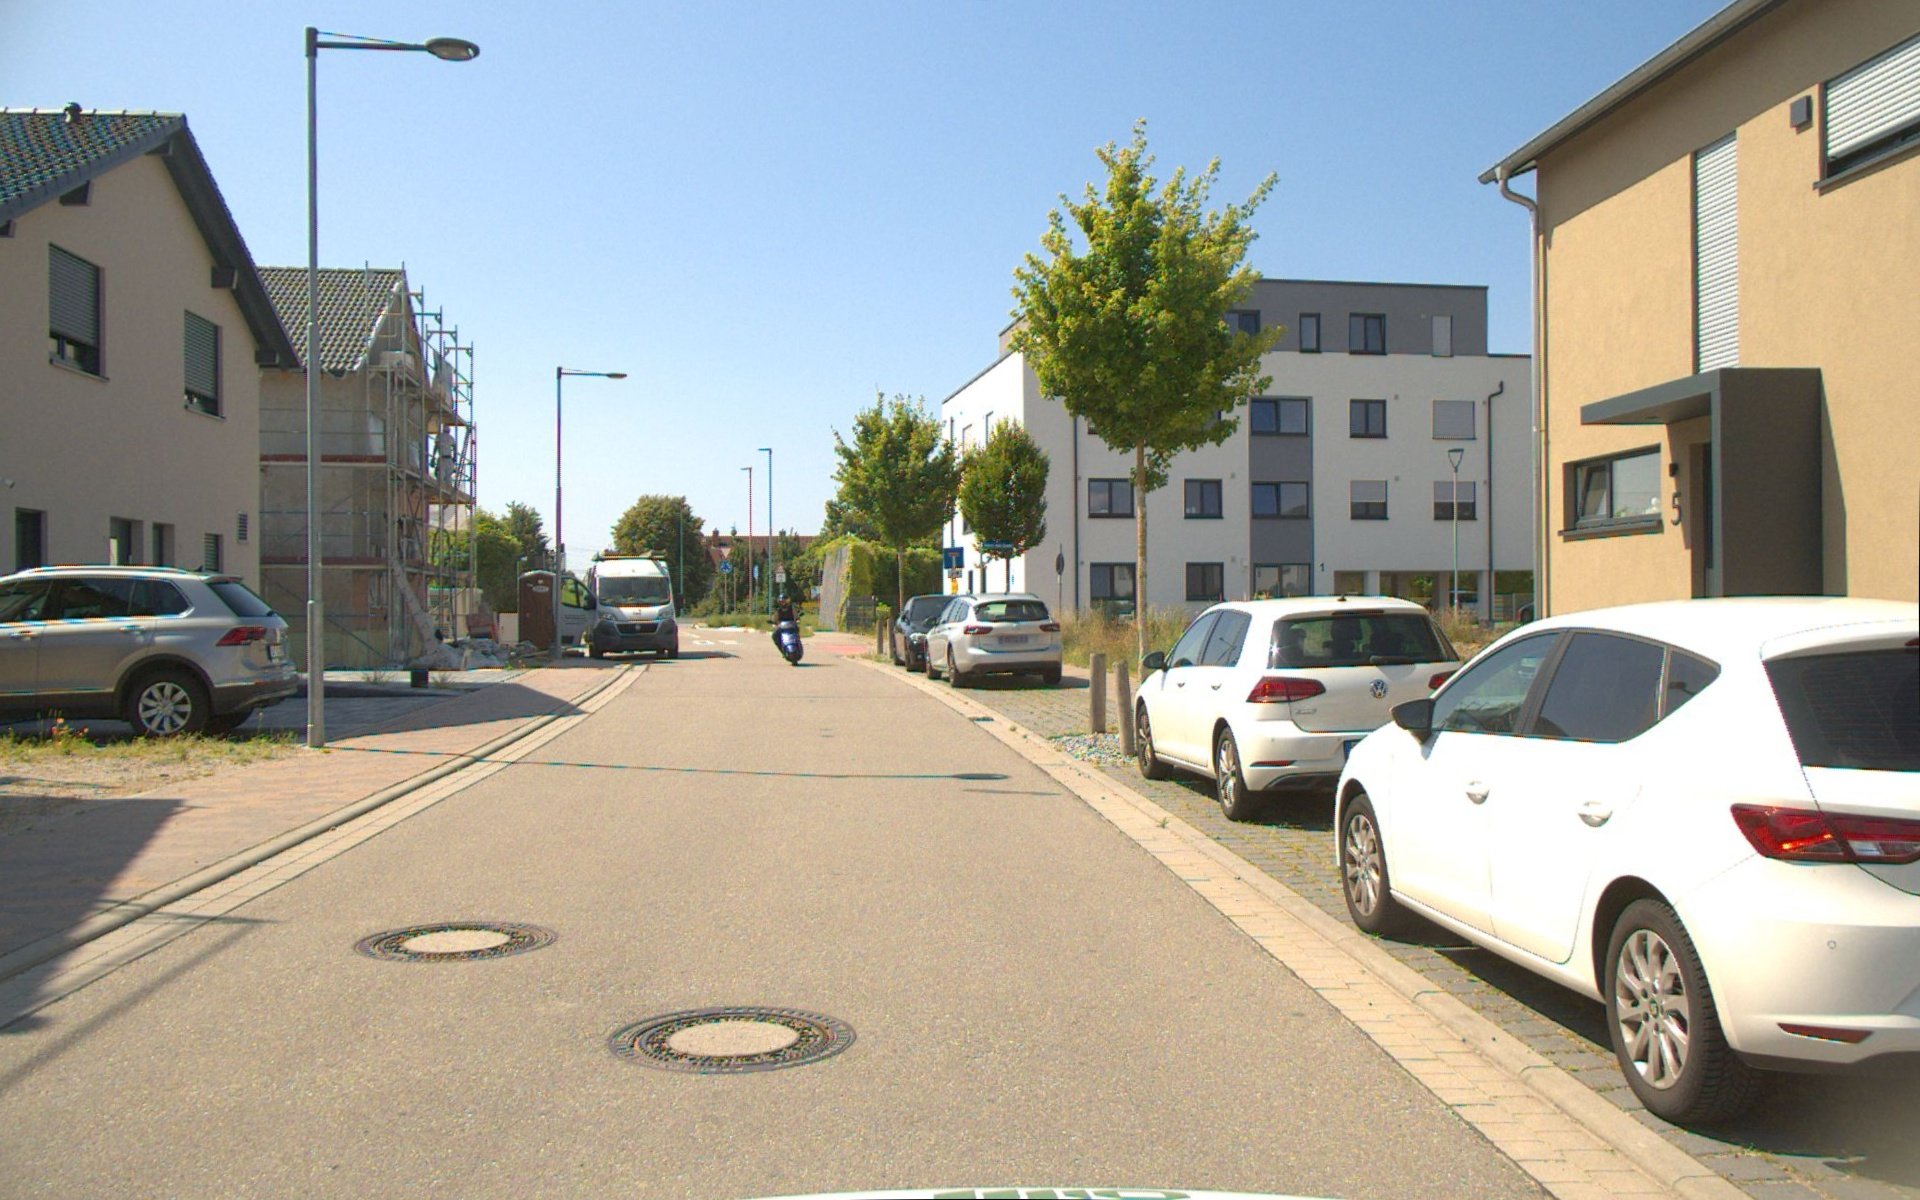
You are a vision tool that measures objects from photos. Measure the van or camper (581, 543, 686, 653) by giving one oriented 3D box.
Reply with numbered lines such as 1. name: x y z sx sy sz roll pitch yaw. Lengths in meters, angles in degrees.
1. van or camper: -8.457 -0.015 42.389 2.235 2.598 6.342 -1 -1 -15

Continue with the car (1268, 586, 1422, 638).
1. car: 11.471 0.355 49.433 4.083 1.461 1.878 -1 -1 -11

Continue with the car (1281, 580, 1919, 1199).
1. car: 2.722 0.695 6.290 1.779 1.481 4.560 -2 0 -4

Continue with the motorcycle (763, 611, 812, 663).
1. motorcycle: -3.866 0.797 36.889 0.938 1.053 2.431 -1 1 -10

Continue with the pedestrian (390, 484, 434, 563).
1. pedestrian: -12.338 -1.704 37.230 0.567 1.709 0.745 -3 -3 39

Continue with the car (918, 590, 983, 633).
1. car: -0.390 0.397 61.128 1.648 1.495 4.105 0 0 -11

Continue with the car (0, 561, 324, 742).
1. car: -8.803 0.481 16.317 4.343 1.640 1.996 -1 0 -9

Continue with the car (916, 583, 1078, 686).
1. car: 0.513 0.512 28.465 1.883 1.537 5.284 -2 1 -9

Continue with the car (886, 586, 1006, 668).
1. car: -0.382 0.503 34.456 1.882 1.495 5.132 -2 1 -7

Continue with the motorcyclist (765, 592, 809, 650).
1. motorcyclist: -3.844 0.452 36.732 0.908 1.244 0.802 -1 1 -10

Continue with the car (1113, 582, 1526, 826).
1. car: 2.477 0.623 12.615 1.745 1.450 4.509 -2 1 -6

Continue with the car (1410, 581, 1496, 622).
1. car: 19.447 0.081 65.387 1.842 1.529 3.670 -1 -1 -9

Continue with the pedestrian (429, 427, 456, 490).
1. pedestrian: -13.297 -3.638 42.527 0.551 1.526 0.746 -1 -2 -10

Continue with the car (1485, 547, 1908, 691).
1. car: 9.497 0.237 21.530 4.656 1.673 1.996 -1 -1 -8
